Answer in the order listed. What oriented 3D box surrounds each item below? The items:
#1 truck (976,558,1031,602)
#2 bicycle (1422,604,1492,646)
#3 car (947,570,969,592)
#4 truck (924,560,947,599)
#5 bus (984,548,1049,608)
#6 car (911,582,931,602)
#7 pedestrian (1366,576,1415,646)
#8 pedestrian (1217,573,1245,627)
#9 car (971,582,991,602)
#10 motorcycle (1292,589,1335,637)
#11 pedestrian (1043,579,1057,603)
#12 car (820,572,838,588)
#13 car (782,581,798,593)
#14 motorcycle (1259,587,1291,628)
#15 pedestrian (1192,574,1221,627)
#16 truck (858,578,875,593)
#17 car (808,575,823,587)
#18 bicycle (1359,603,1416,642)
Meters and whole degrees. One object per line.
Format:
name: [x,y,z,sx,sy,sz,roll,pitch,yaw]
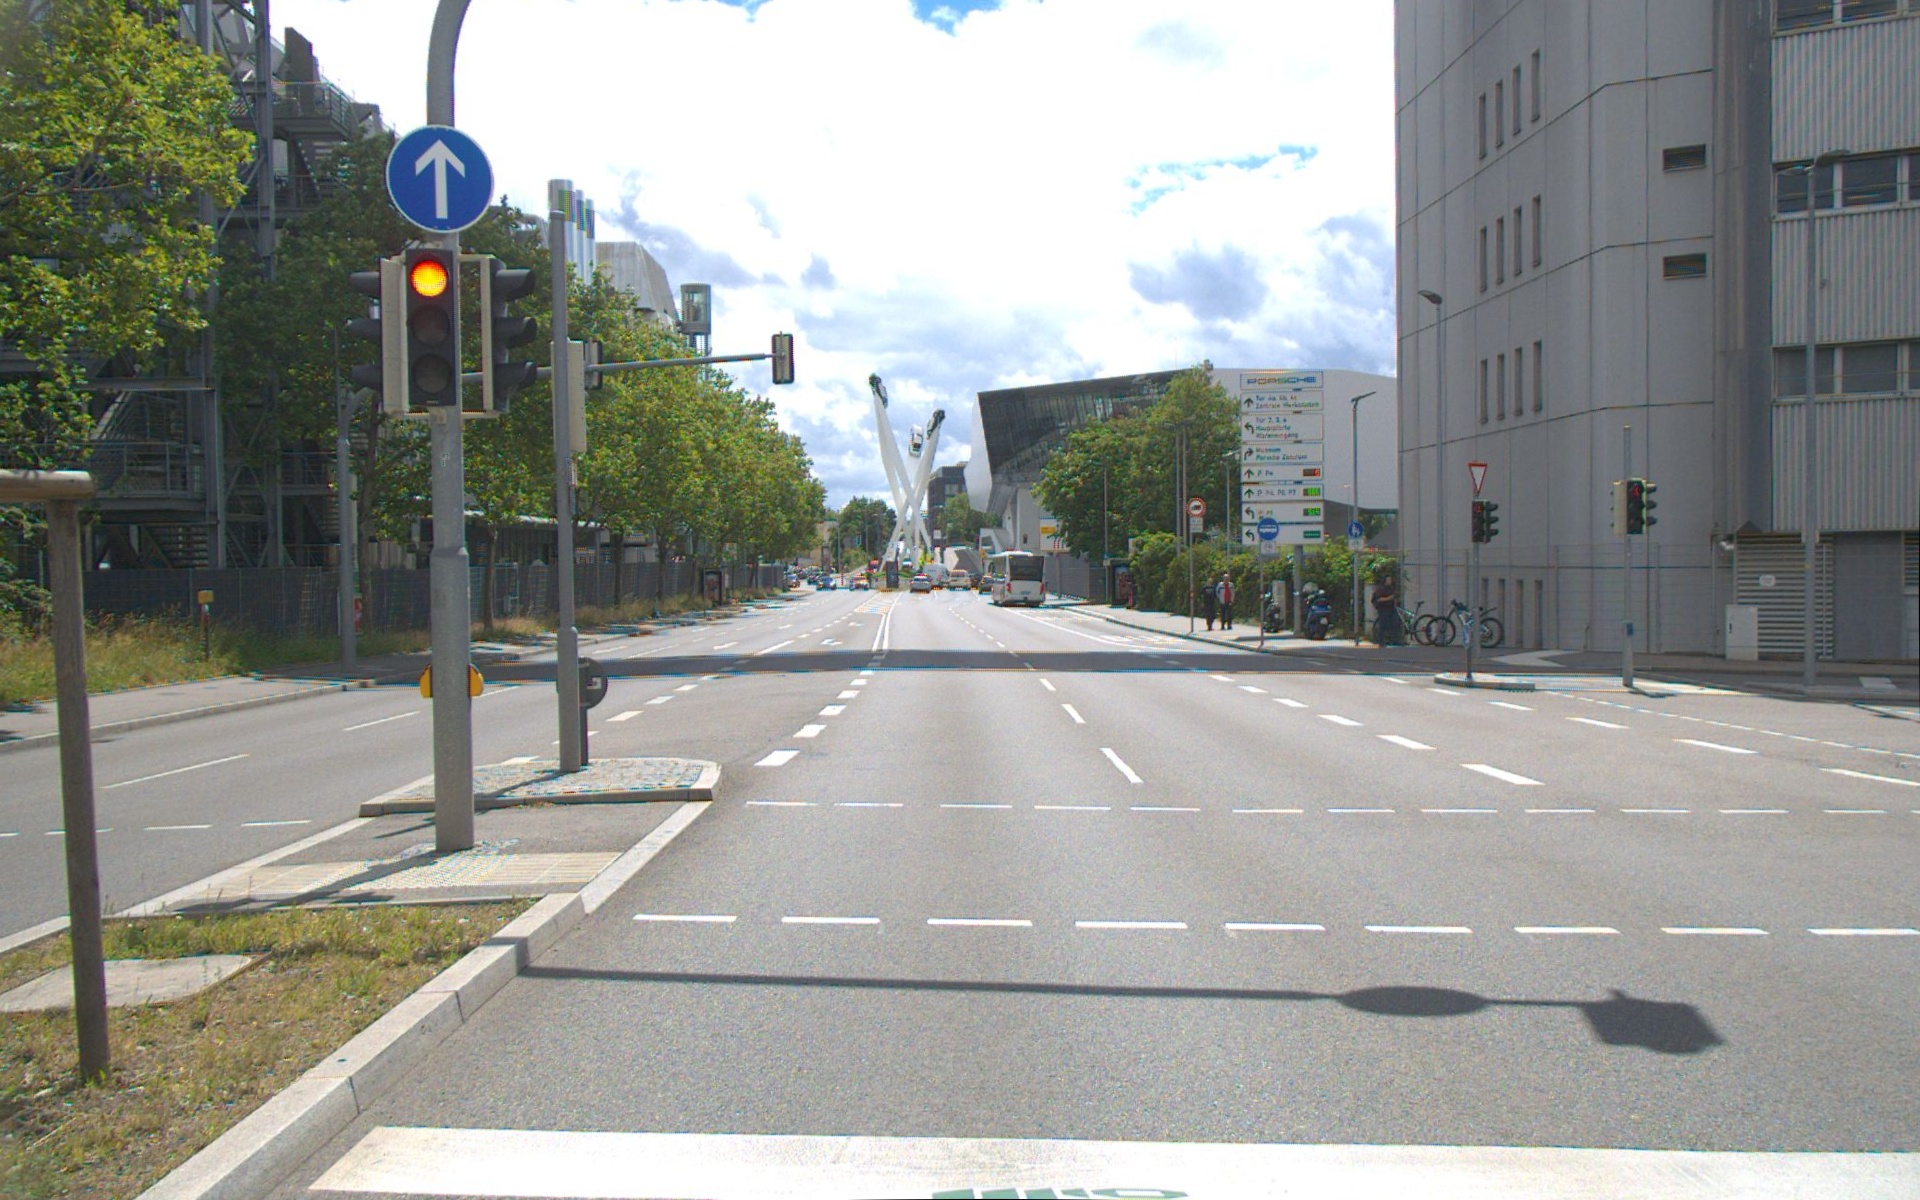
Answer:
truck: [4.579,-2.070,171.733,3.379,4.468,9.426,0,0,17]
bicycle: [11.648,0.582,38.841,0.392,0.953,1.912,0,0,-26]
car: [-0.172,-1.927,165.588,1.952,2.049,4.001,1,-1,3]
truck: [-2.544,-2.121,172.083,2.343,3.965,6.176,0,0,-1]
bus: [3.510,-1.354,105.398,3.383,3.605,10.601,0,0,-2]
car: [-3.486,-0.734,148.420,1.703,1.772,3.691,0,0,-1]
pedestrian: [10.321,0.251,39.658,0.834,1.653,0.951,0,0,40]
pedestrian: [8.946,-0.016,54.680,0.803,1.772,0.637,0,0,-1]
car: [1.831,-0.688,147.690,1.703,1.772,3.691,0,0,-1]
motorcycle: [9.616,0.346,45.020,0.692,1.224,2.024,-2,1,-1]
pedestrian: [7.649,-0.777,140.234,1.008,2.049,0.883,1,-1,-5]
car: [-14.166,-2.155,178.594,1.783,1.564,3.676,-2,0,-4]
car: [-21.668,-1.655,211.176,1.782,1.564,3.676,-2,0,-3]
motorcycle: [10.063,0.232,52.887,0.562,1.224,2.024,-2,1,-1]
pedestrian: [8.137,0.027,54.607,0.803,1.737,0.881,0,0,-1]
truck: [-9.589,-1.491,169.550,1.553,1.564,3.673,0,0,-6]
car: [-19.503,-2.545,223.518,1.782,1.564,3.676,-2,0,-3]
bicycle: [10.614,0.548,41.113,0.391,0.953,1.917,0,0,-19]
